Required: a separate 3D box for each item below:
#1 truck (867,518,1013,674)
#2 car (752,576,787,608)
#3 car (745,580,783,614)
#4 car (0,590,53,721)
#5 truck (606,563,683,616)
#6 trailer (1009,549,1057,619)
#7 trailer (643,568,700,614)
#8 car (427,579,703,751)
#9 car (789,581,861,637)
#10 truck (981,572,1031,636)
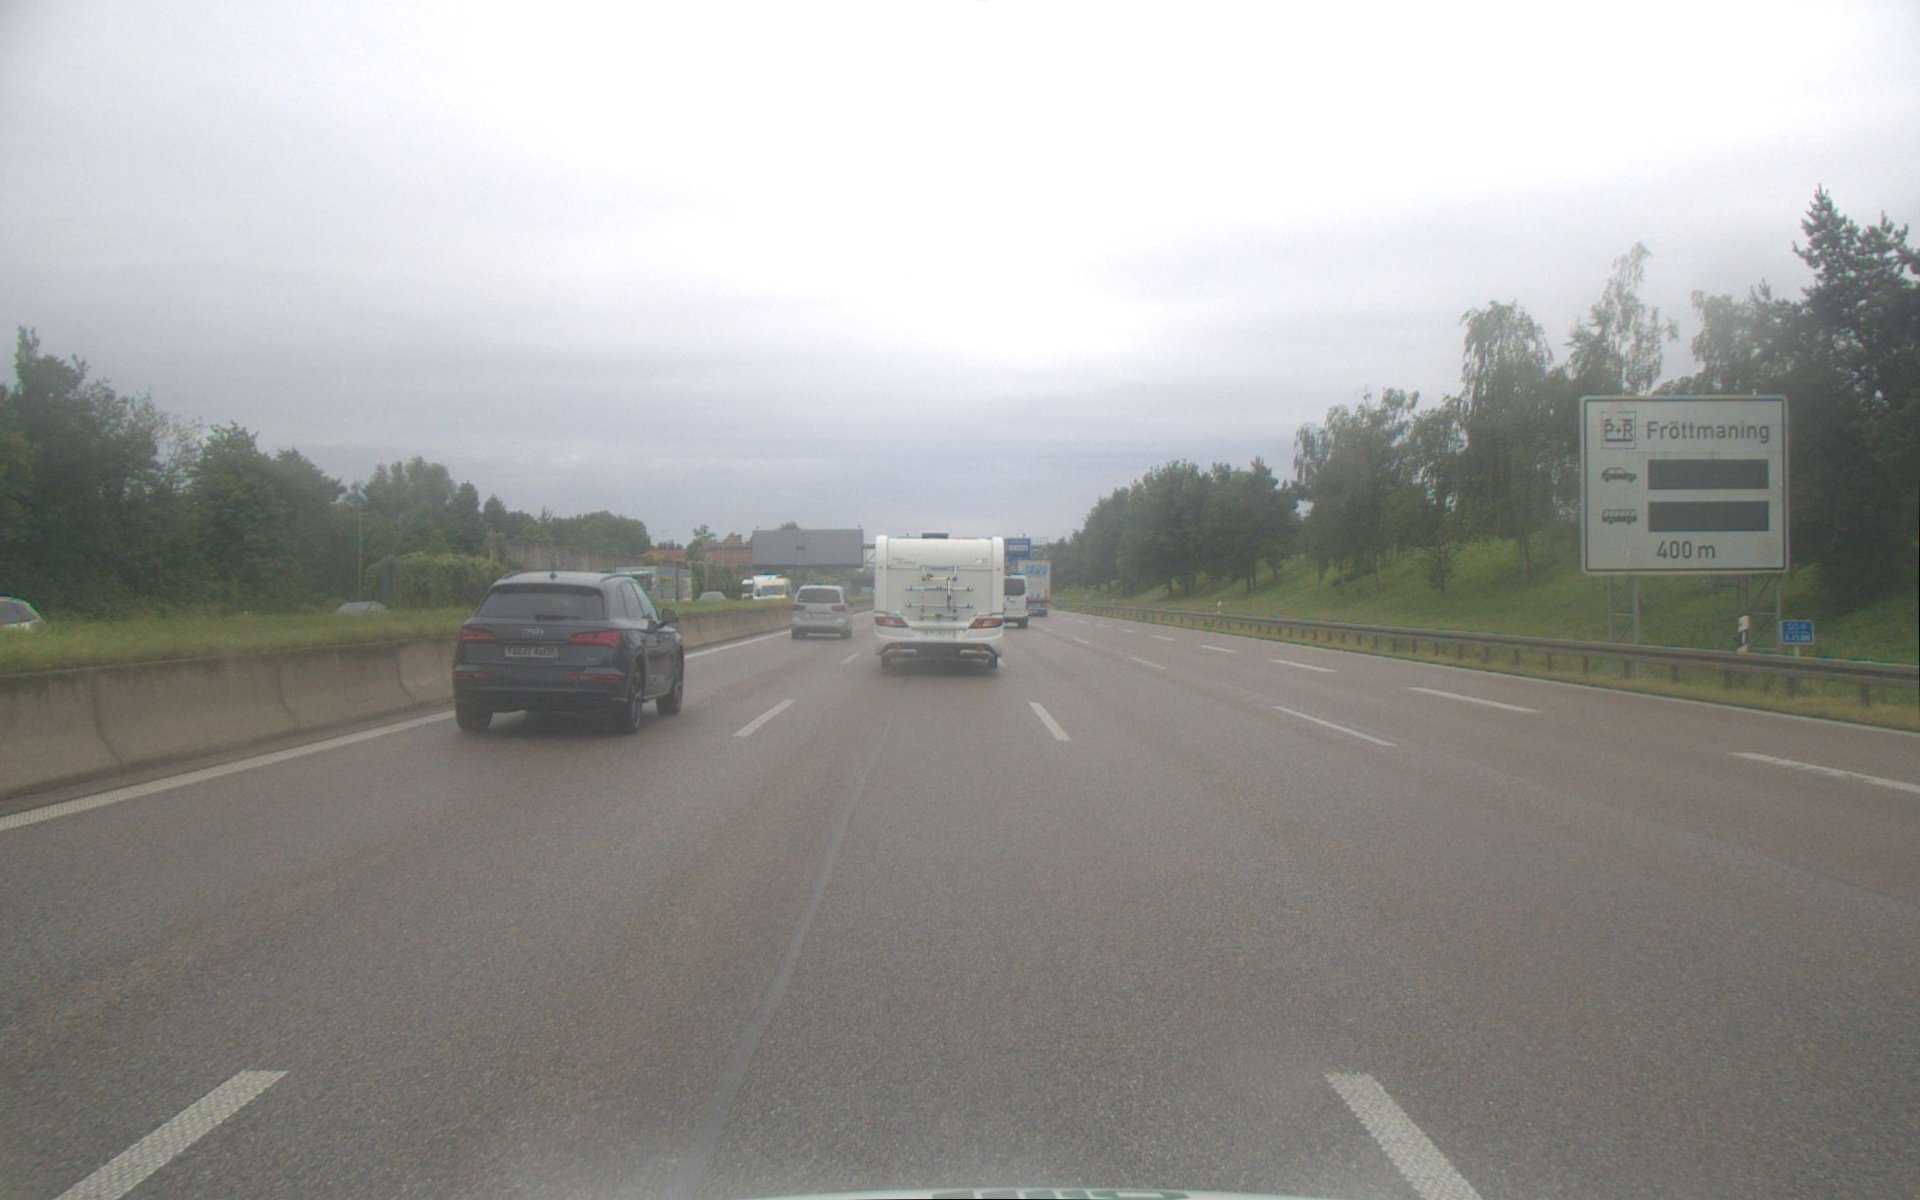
[{"bbox_3d":[-0.415,-0.062,32.644,2.607,2.790,5.076,1,0,-1],"label":"truck"},{"bbox_3d":[-17.334,-0.725,150.947,2.274,2.782,7.315,1,0,0],"label":"car"},{"bbox_3d":[-14.669,-0.229,124.209,2.017,2.427,7.321,1,0,-1],"label":"car"},{"bbox_3d":[-15.789,0.857,25.332,1.587,2.049,3.999,1,0,-1],"label":"car"},{"bbox_3d":[-20.673,-0.662,109.155,2.825,3.277,11.357,1,0,0],"label":"truck"},{"bbox_3d":[5.454,-1.155,125.699,3.036,5.008,11.789,1,0,0],"label":"trailer"},{"bbox_3d":[-20.663,-0.635,118.828,2.720,3.131,7.872,1,0,0],"label":"trailer"},{"bbox_3d":[-4.235,0.637,18.621,1.953,1.628,5.122,1,0,-1],"label":"car"},{"bbox_3d":[-4.372,0.264,54.083,2.085,1.736,4.112,0,0,-1],"label":"car"},{"bbox_3d":[2.115,0.190,77.658,2.012,2.818,5.547,1,0,-1],"label":"truck"}]
